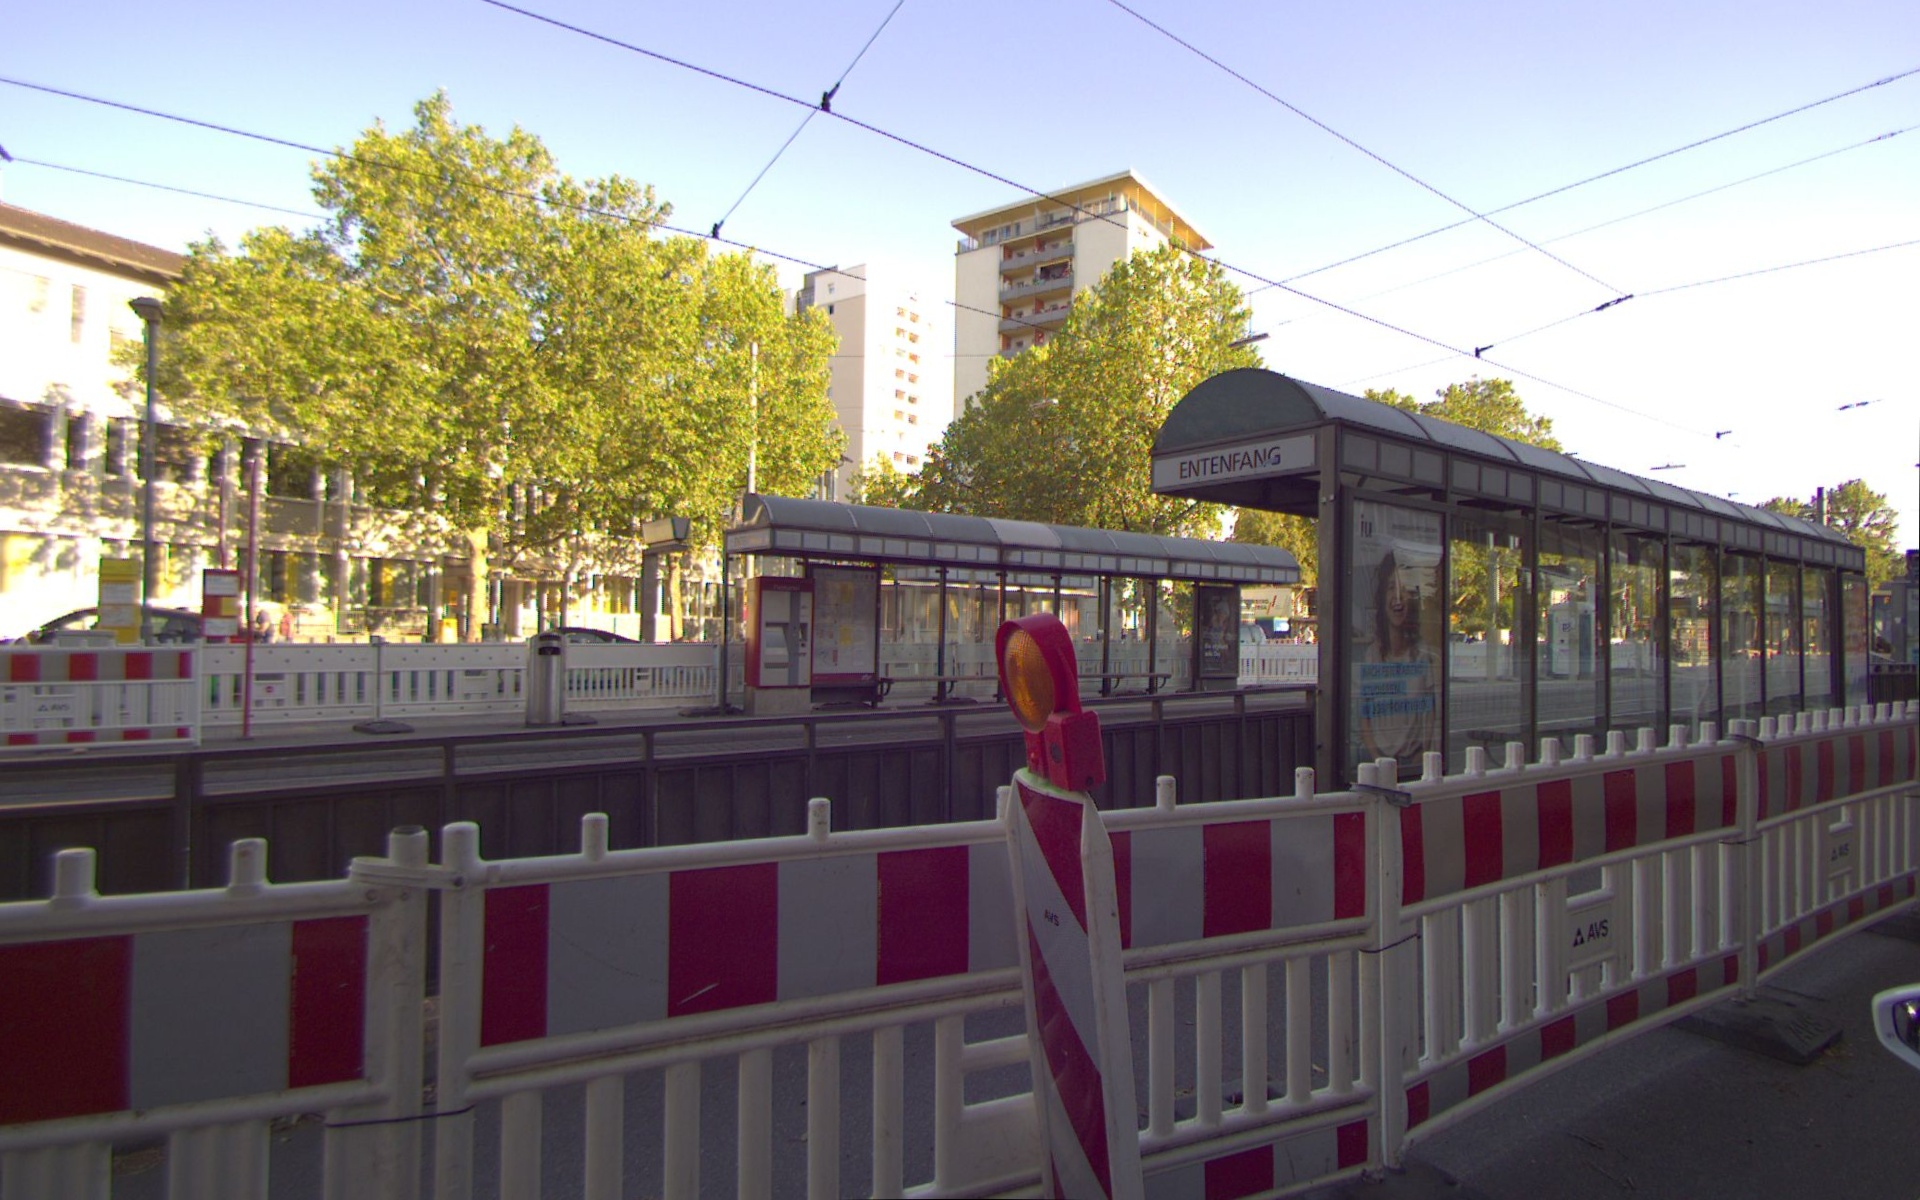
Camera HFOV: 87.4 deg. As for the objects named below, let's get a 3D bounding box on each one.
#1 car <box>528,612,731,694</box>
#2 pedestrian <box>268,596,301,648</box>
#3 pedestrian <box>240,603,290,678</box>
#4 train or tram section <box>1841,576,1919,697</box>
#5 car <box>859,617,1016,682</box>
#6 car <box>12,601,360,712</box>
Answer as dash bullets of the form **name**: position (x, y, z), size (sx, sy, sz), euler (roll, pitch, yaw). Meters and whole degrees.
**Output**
- **car**: position (-7.425, 1.170, 22.660), size (3.958, 1.683, 1.982), euler (2, -2, -33)
- **pedestrian**: position (-19.396, 0.633, 28.842), size (0.576, 1.474, 0.584), euler (0, -1, 30)
- **pedestrian**: position (-17.798, 1.033, 25.728), size (0.921, 1.858, 0.691), euler (2, -2, -43)
- **train or tram section**: position (32.806, 1.241, 33.412), size (11.656, 3.580, 2.668), euler (2, 0, -36)
- **car**: position (-0.607, 1.346, 27.792), size (3.959, 1.683, 1.901), euler (2, -2, -34)
- **car**: position (-13.056, 0.943, 17.369), size (4.511, 1.683, 1.982), euler (2, -2, -34)
